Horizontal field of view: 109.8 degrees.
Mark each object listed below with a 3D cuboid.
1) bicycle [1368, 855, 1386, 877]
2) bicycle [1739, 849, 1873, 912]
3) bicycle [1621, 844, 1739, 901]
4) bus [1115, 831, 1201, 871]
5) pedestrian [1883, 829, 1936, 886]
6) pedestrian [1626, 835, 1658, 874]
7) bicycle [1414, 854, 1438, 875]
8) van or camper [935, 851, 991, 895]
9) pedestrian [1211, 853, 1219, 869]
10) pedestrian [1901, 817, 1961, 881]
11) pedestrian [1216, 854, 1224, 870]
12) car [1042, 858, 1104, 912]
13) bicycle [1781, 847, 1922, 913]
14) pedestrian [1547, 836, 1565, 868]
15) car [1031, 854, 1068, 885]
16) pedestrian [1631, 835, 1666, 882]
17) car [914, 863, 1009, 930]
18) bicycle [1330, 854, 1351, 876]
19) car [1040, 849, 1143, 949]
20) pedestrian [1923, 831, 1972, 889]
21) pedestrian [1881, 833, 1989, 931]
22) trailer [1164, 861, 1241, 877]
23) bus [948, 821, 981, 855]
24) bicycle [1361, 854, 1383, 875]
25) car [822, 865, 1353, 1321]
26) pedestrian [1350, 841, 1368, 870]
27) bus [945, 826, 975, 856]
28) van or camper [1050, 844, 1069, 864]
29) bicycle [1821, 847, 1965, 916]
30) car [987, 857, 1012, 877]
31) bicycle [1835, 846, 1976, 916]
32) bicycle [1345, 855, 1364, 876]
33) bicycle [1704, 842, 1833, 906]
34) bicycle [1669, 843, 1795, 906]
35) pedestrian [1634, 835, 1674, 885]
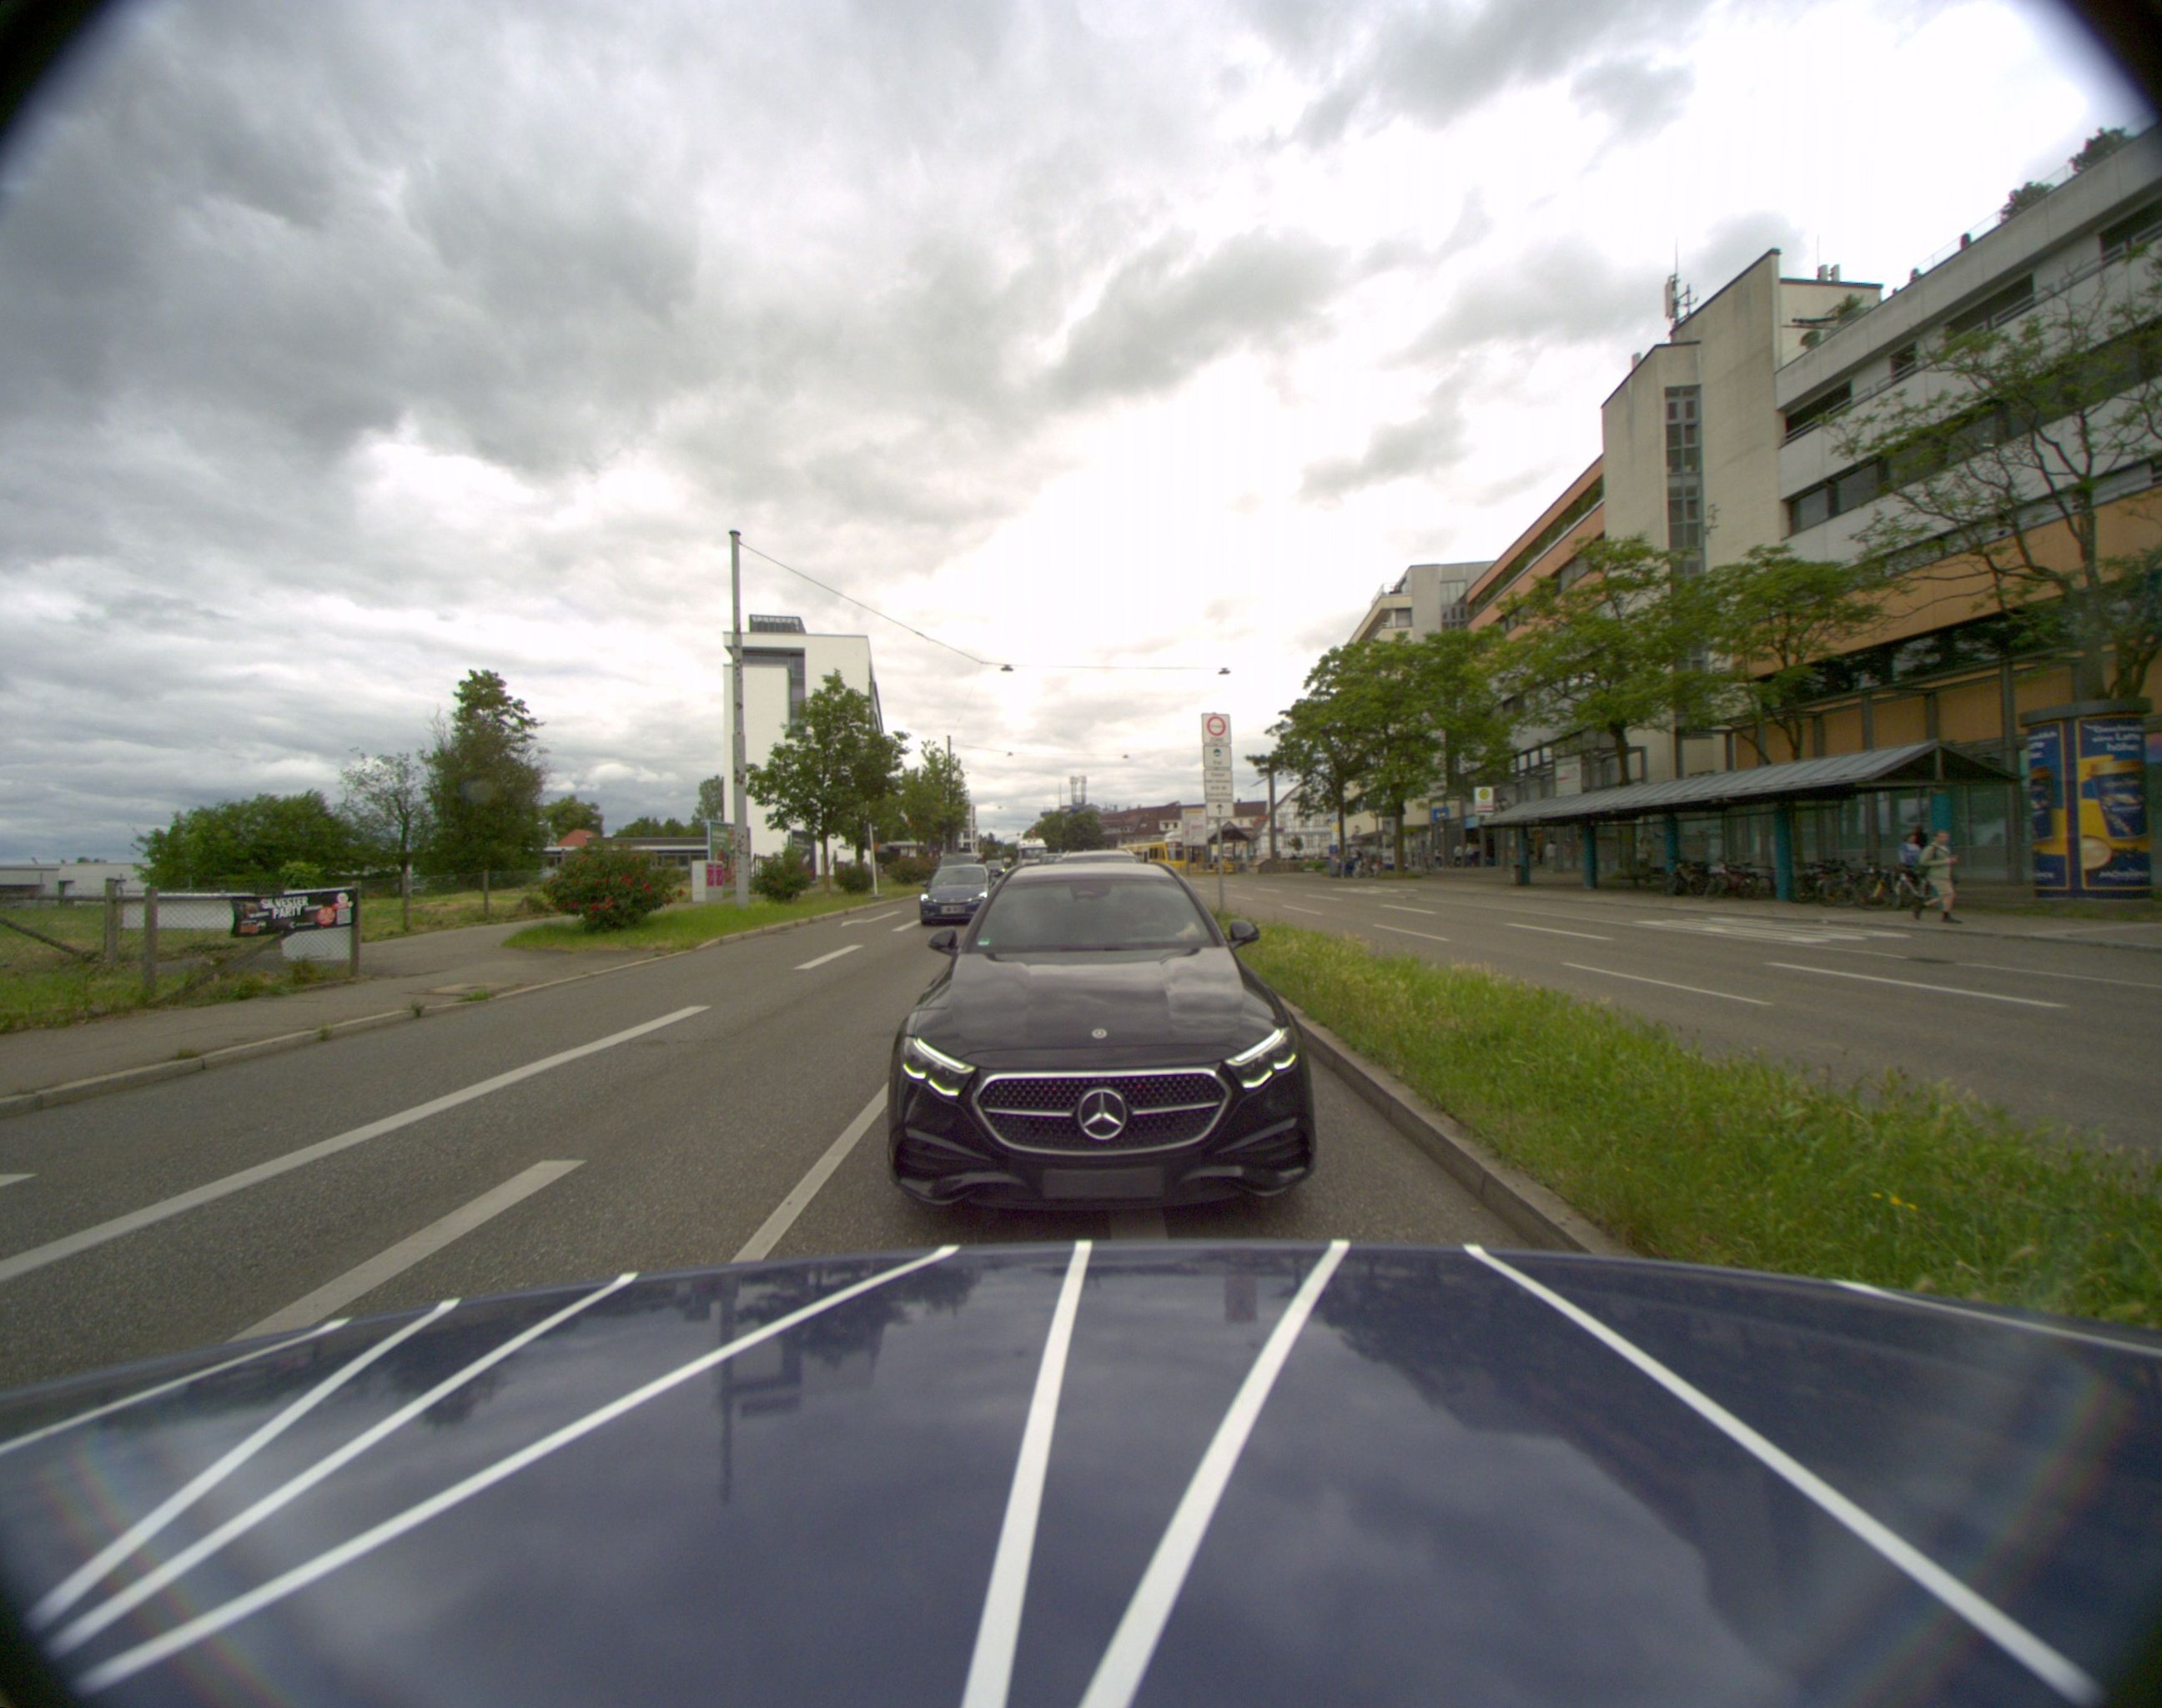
[{"bbox_3d":[16.170,0.648,41.522,0.603,1.154,1.693,-1,-1,31],"label":"bicycle"},{"bbox_3d":[18.314,0.648,19.218,2.908,1.498,0.805,-1,0,-8],"label":"bicycle"},{"bbox_3d":[17.769,0.537,22.569,2.908,1.498,0.972,-3,0,-8],"label":"bicycle"},{"bbox_3d":[8.011,-0.147,84.434,3.891,3.836,19.323,-1,-1,-12],"label":"bus"},{"bbox_3d":[23.733,0.091,21.772,0.668,1.574,0.706,-3,1,-6],"label":"pedestrian"},{"bbox_3d":[25.442,0.030,34.440,0.772,1.706,0.789,-3,1,-8],"label":"pedestrian"},{"bbox_3d":[19.189,0.579,42.253,0.672,1.154,2.023,-1,-1,39],"label":"bicycle"},{"bbox_3d":[-5.479,0.849,35.770,1.809,1.867,4.849,-2,0,0],"label":"van or camper"},{"bbox_3d":[13.078,0.714,74.142,0.601,1.564,0.620,-1,0,-10],"label":"pedestrian"},{"bbox_3d":[27.246,-0.169,24.371,0.899,2.002,0.934,-1,1,-5],"label":"pedestrian"},{"bbox_3d":[13.773,0.825,75.180,0.601,1.564,0.620,-1,0,-10],"label":"pedestrian"},{"bbox_3d":[-0.217,0.906,24.023,1.735,1.474,4.369,-2,0,0],"label":"car"},{"bbox_3d":[18.446,0.611,18.211,2.908,1.498,0.778,-1,0,-8],"label":"bicycle"},{"bbox_3d":[24.069,-0.105,38.499,0.633,1.591,0.624,-3,1,27],"label":"pedestrian"},{"bbox_3d":[-1.666,0.834,41.442,1.735,1.544,4.369,-2,0,0],"label":"car"},{"bbox_3d":[21.749,0.168,29.131,0.774,1.706,0.787,-3,1,17],"label":"pedestrian"},{"bbox_3d":[-3.008,1.035,20.024,1.735,1.474,4.369,-2,0,0],"label":"car"},{"bbox_3d":[14.800,0.626,43.310,0.603,1.154,1.969,-3,-1,33],"label":"bicycle"},{"bbox_3d":[0.197,0.793,15.361,1.735,1.680,4.369,-2,0,0],"label":"car"},{"bbox_3d":[24.597,0.158,21.579,0.634,1.591,0.622,-3,0,-5],"label":"pedestrian"},{"bbox_3d":[16.753,0.521,14.940,0.705,1.812,1.213,-3,1,-3],"label":"pedestrian"},{"bbox_3d":[10.731,1.339,68.906,2.851,1.325,12.115,-1,-1,-12],"label":"trailer"},{"bbox_3d":[-12.580,-1.622,81.361,2.993,3.222,9.856,-1,0,-12],"label":"bus"},{"bbox_3d":[16.452,0.604,42.962,0.604,1.154,1.966,-1,-1,4],"label":"bicycle"},{"bbox_3d":[-0.031,0.914,5.213,1.873,1.542,4.773,-4,-1,-2],"label":"car"},{"bbox_3d":[18.545,0.101,50.696,0.747,1.866,0.873,-1,0,-8],"label":"pedestrian"},{"bbox_3d":[-14.473,-1.480,90.637,3.047,3.216,9.329,-1,-1,-12],"label":"bus"},{"bbox_3d":[-2.968,0.026,104.357,2.039,2.582,6.112,1,-1,-7],"label":"van or camper"},{"bbox_3d":[18.527,0.606,17.350,2.908,1.498,0.700,-1,0,-8],"label":"bicycle"},{"bbox_3d":[-6.509,1.049,60.374,1.736,1.474,4.366,-2,0,-8],"label":"car"},{"bbox_3d":[18.597,0.584,17.152,2.908,1.498,0.598,-1,0,-8],"label":"bicycle"},{"bbox_3d":[15.342,0.653,42.612,0.603,1.154,1.969,-1,-1,32],"label":"bicycle"},{"bbox_3d":[18.243,0.509,20.182,2.908,1.498,0.811,-3,0,-7],"label":"bicycle"},{"bbox_3d":[18.012,0.542,21.056,2.908,1.498,0.891,-4,1,-8],"label":"bicycle"},{"bbox_3d":[20.267,0.207,26.885,0.777,1.703,0.706,-3,1,-6],"label":"pedestrian"}]
